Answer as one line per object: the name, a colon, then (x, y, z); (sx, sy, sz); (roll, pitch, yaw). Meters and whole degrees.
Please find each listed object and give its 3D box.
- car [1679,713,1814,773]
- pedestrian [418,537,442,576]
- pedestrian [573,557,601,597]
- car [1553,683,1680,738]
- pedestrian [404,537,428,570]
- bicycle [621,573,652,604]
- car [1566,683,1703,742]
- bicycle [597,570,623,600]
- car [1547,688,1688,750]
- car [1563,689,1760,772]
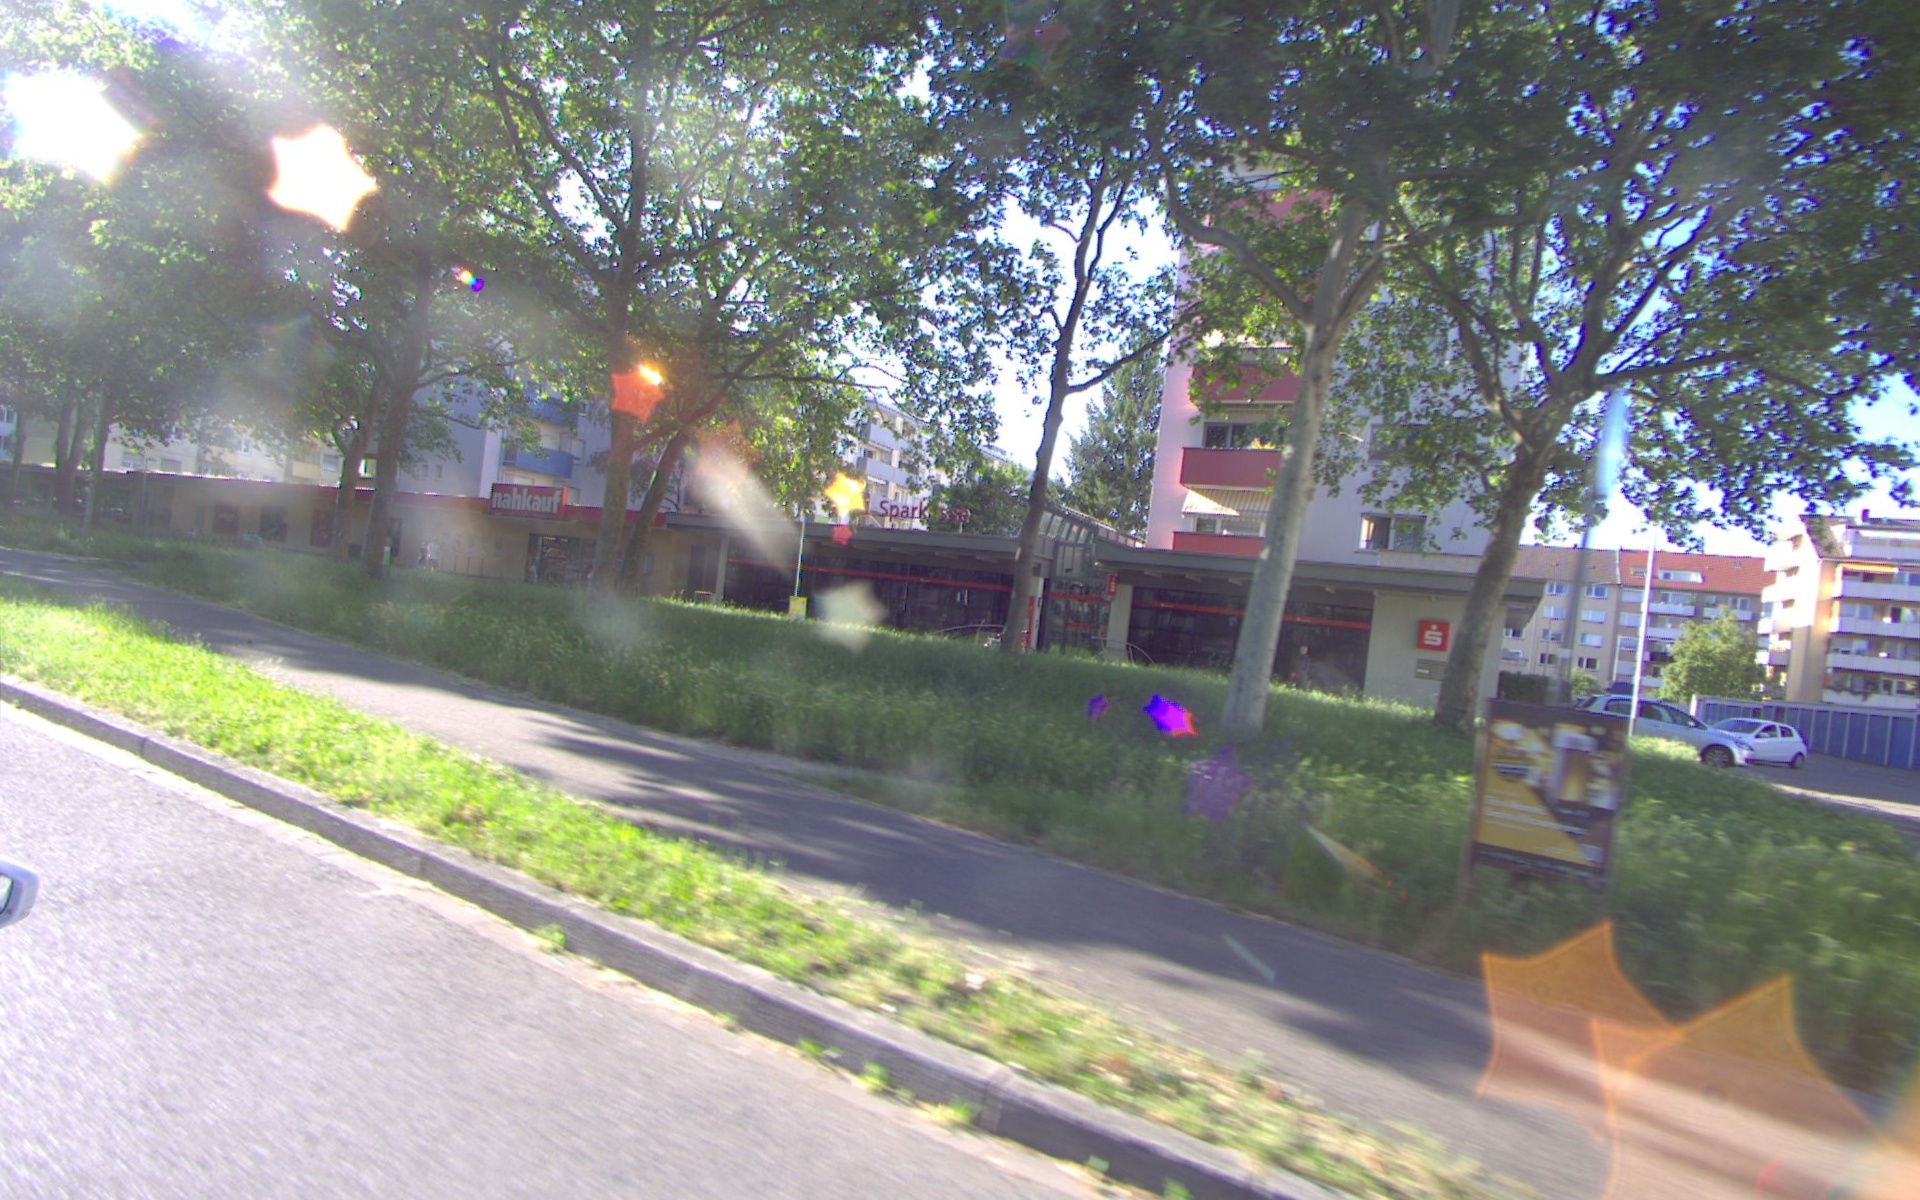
car: (26.181, 4.757, 33.526); (3.502, 1.440, 1.909); (7, 0, -21)
pedestrian: (-24.965, -2.056, 47.403); (0.703, 1.721, 0.496); (8, 1, 26)
pedestrian: (-16.030, -1.003, 43.269); (0.703, 1.604, 0.672); (8, 1, 26)
car: (26.730, 4.459, 41.135); (4.134, 1.576, 1.979); (7, 0, 31)
pedestrian: (-25.242, -2.154, 46.688); (0.703, 1.448, 0.532); (8, 1, 26)
bicycle: (-14.004, -0.523, 43.534); (0.594, 1.193, 1.832); (7, -1, -37)
car: (25.945, 4.299, 38.884); (4.134, 1.576, 1.979); (7, 0, 31)
bicycle: (-15.374, -0.685, 44.154); (0.593, 1.193, 1.836); (7, -1, -31)
car: (24.196, 4.333, 37.236); (4.134, 1.576, 1.979); (7, 0, 31)
car: (18.692, 3.445, 27.068); (4.044, 1.522, 1.873); (6, -1, 30)
